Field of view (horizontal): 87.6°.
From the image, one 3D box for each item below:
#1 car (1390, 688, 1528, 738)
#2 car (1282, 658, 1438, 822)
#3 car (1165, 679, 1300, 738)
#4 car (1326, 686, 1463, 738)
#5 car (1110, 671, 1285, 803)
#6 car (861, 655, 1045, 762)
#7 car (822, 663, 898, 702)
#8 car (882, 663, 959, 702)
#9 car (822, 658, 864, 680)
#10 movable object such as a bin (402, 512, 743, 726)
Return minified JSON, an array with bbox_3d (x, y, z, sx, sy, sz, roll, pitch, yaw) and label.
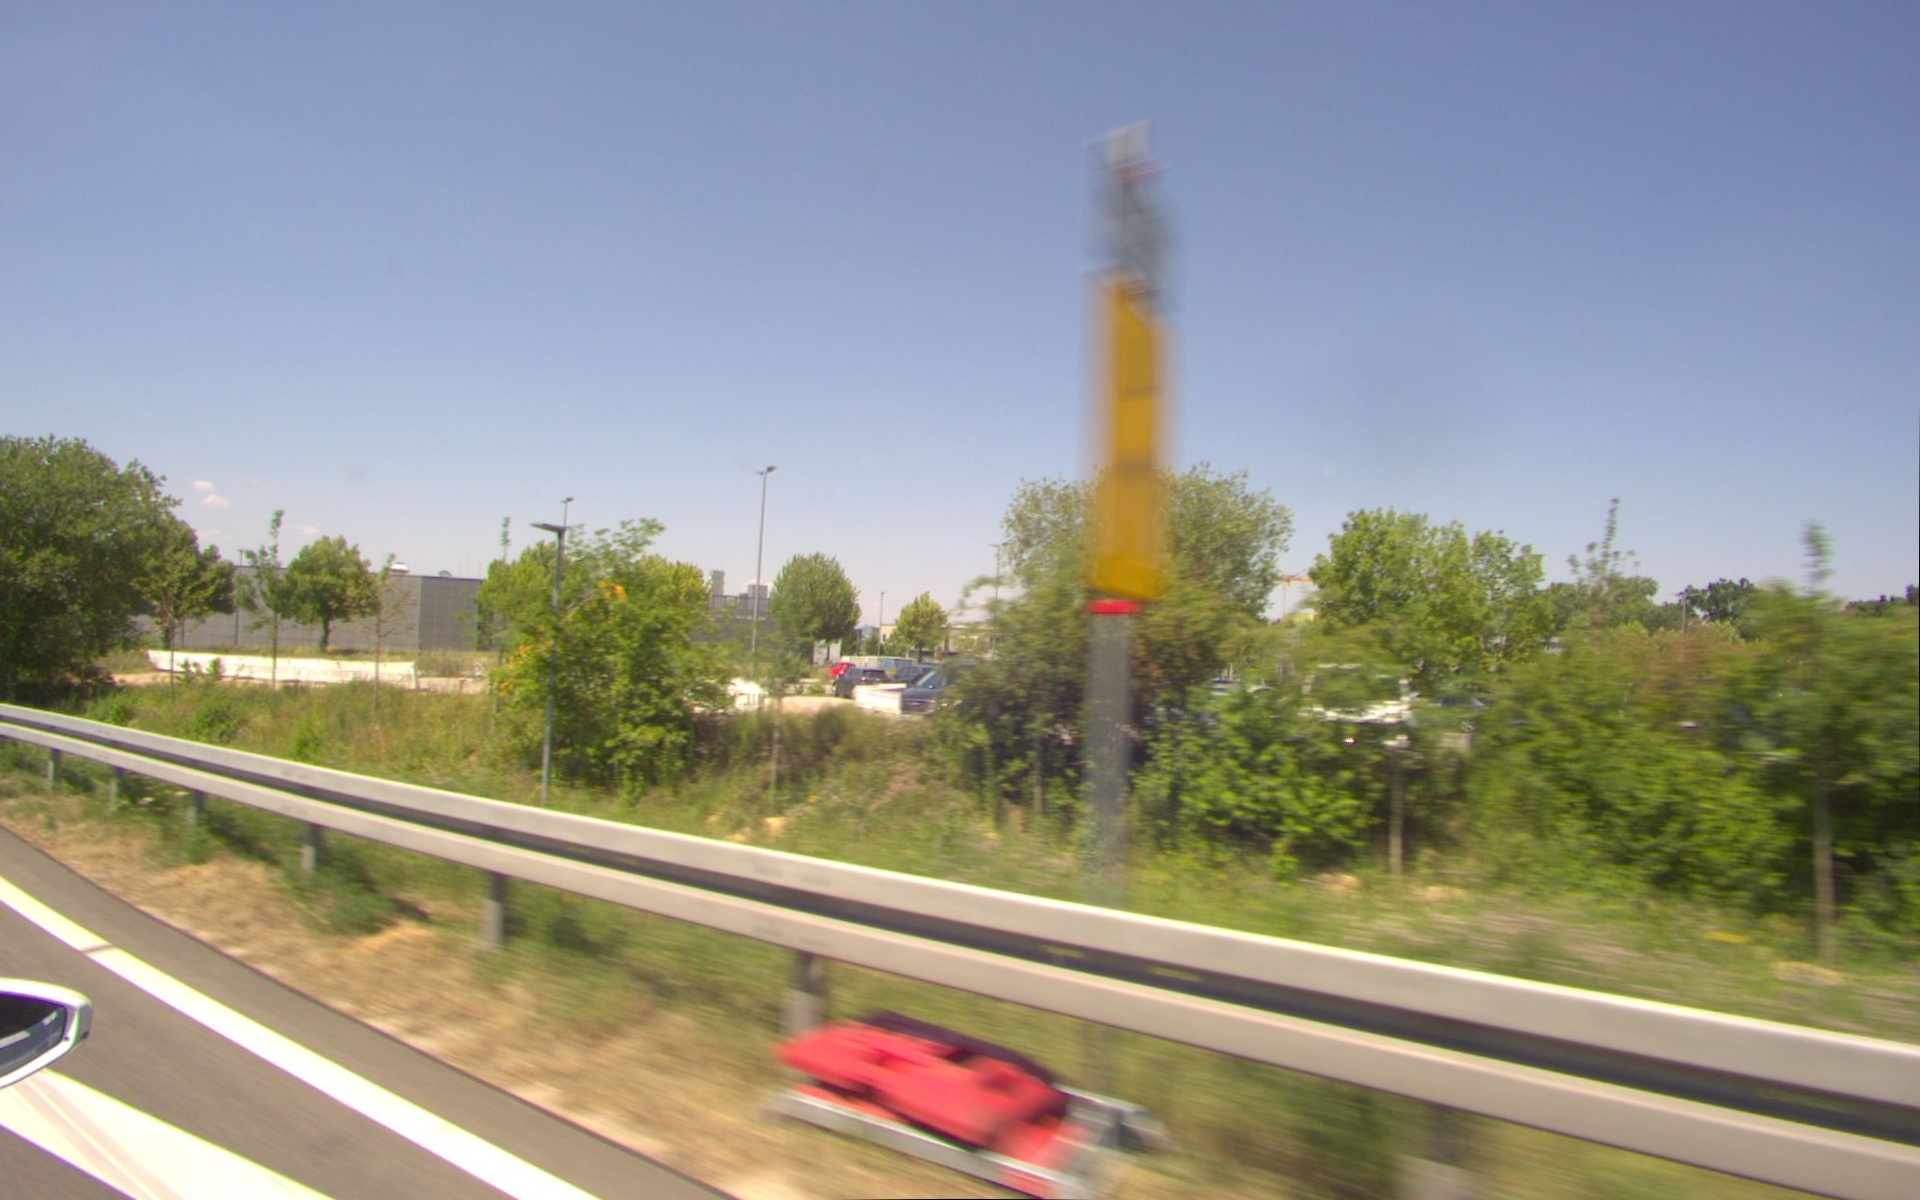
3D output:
[{"bbox_3d":[18.405,4.131,37.120,1.918,1.564,4.327,2,-3,-26],"label":"car"},{"bbox_3d":[7.090,2.275,17.636,2.099,2.286,5.225,3,-3,24],"label":"car"},{"bbox_3d":[8.640,3.405,32.086,1.919,1.588,4.070,2,-3,-28],"label":"car"},{"bbox_3d":[15.558,3.974,36.091,1.918,1.575,4.327,2,-3,-26],"label":"car"},{"bbox_3d":[4.522,2.402,18.546,1.969,1.993,4.294,3,-3,30],"label":"car"},{"bbox_3d":[-0.020,2.271,21.741,2.031,1.937,4.434,3,-3,28],"label":"car"},{"bbox_3d":[-4.601,3.725,45.691,1.970,1.527,4.595,2,-2,-26],"label":"car"},{"bbox_3d":[-1.910,3.822,46.869,1.984,1.657,4.574,2,-3,-25],"label":"car"},{"bbox_3d":[-9.434,5.512,80.448,2.070,1.706,4.526,3,-3,-24],"label":"car"},{"bbox_3d":[-11.076,0.413,28.468,9.075,5.326,3.428,3,-2,25],"label":"movable object such as a bin"}]
